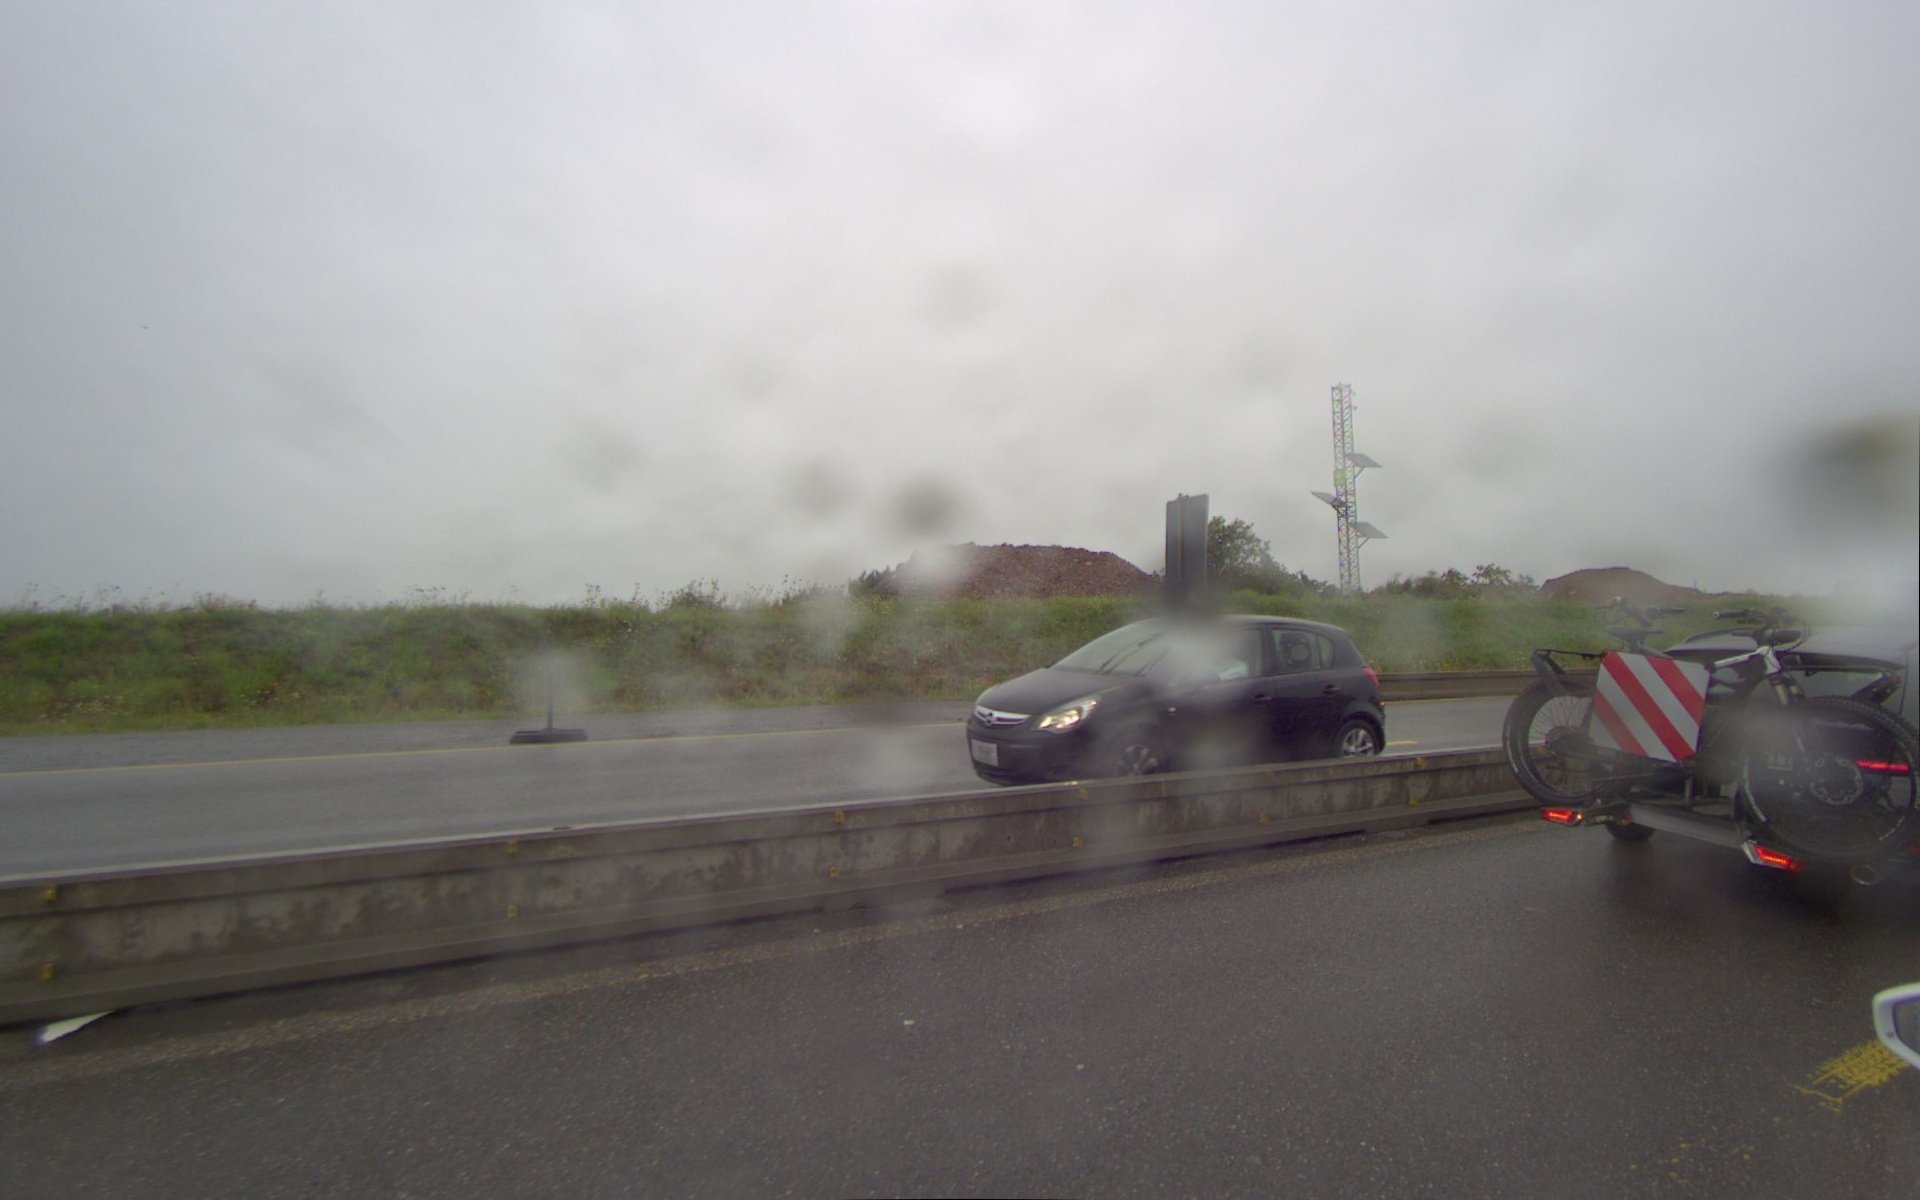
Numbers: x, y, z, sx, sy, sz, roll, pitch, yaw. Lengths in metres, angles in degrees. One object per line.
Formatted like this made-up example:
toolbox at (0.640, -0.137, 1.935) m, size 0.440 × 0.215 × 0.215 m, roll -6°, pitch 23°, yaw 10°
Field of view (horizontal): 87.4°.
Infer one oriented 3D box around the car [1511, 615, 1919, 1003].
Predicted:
car at (5.936, 0.893, 6.254) m, size 5.560 × 1.482 × 1.727 m, roll 0°, pitch 1°, yaw -29°

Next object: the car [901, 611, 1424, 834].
car at (1.833, 0.903, 8.564) m, size 4.409 × 1.462 × 1.602 m, roll 2°, pitch 0°, yaw -30°
